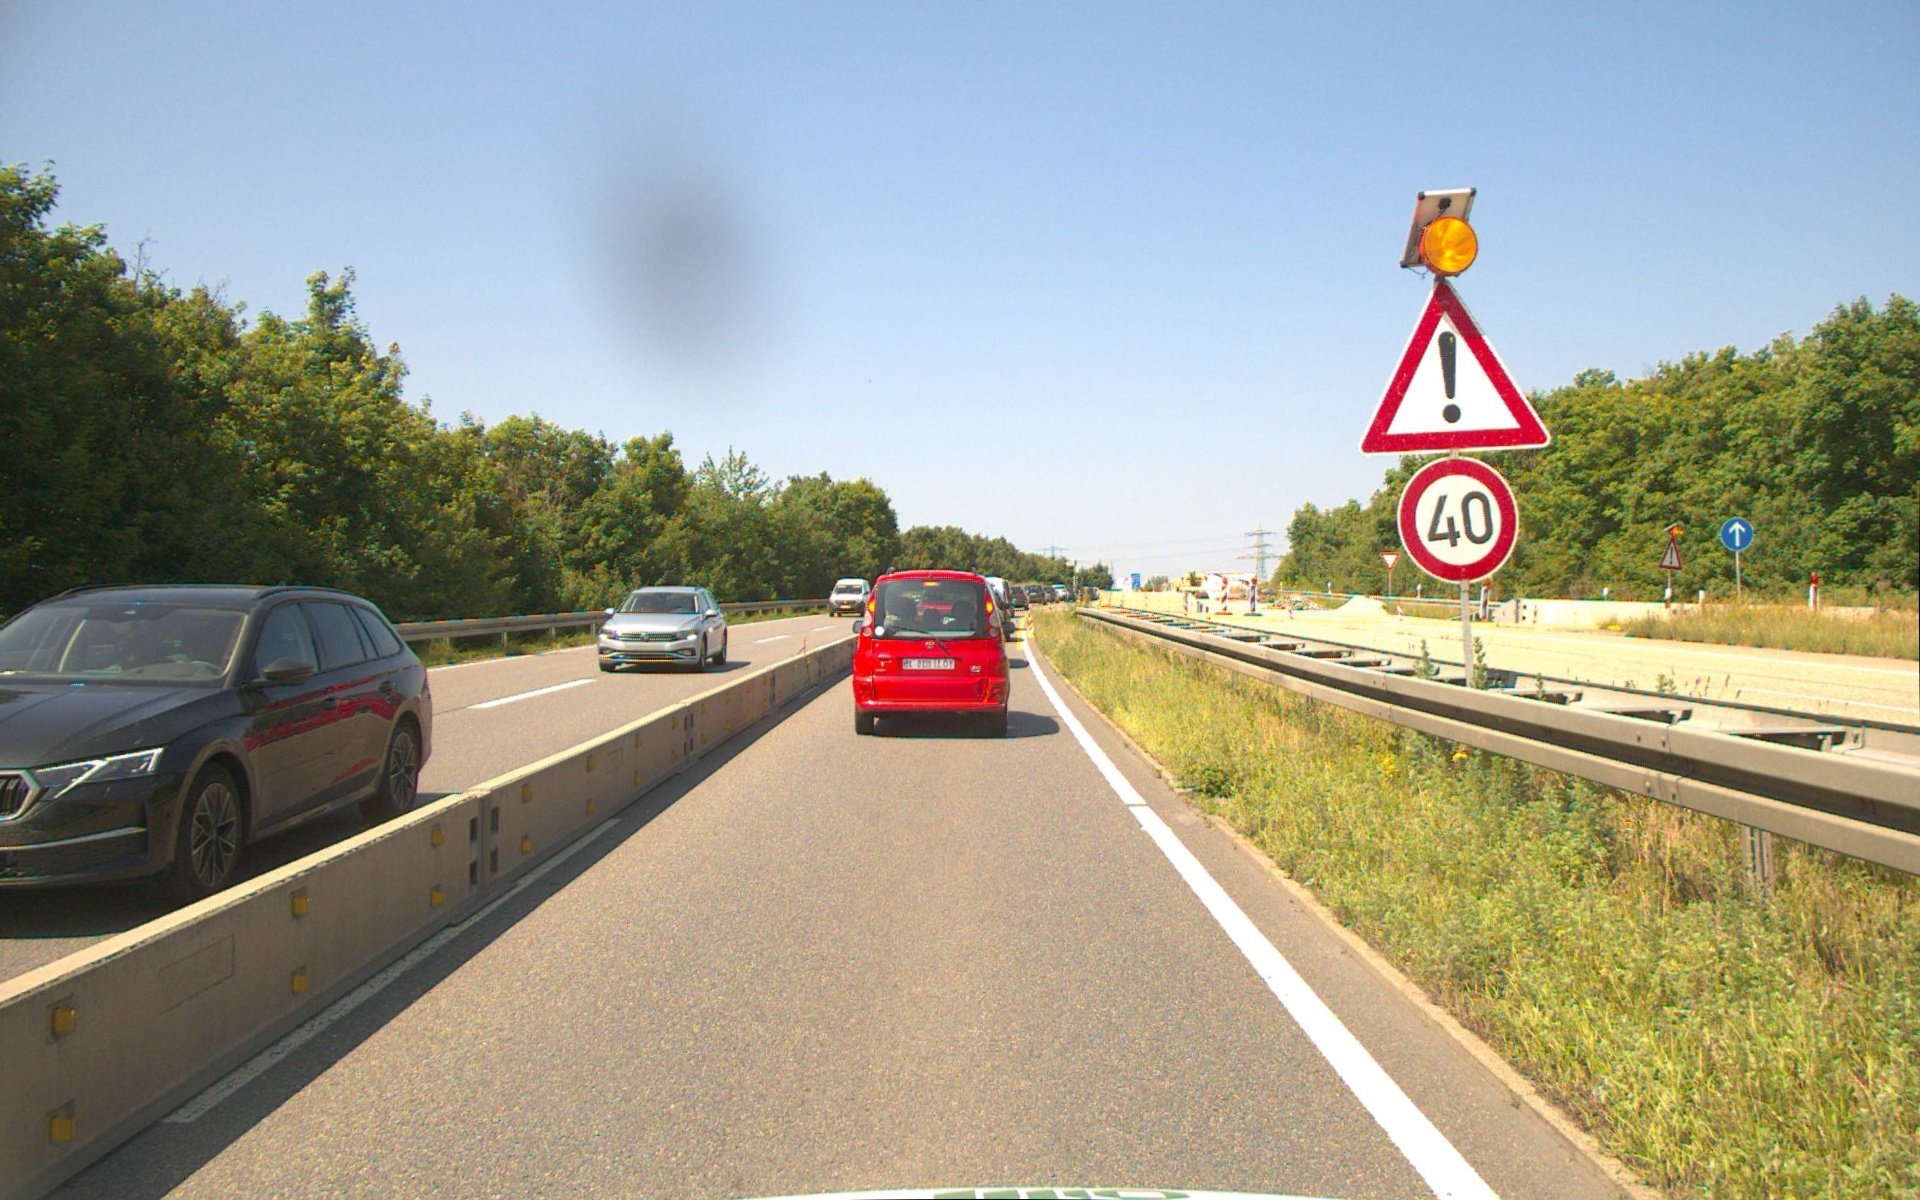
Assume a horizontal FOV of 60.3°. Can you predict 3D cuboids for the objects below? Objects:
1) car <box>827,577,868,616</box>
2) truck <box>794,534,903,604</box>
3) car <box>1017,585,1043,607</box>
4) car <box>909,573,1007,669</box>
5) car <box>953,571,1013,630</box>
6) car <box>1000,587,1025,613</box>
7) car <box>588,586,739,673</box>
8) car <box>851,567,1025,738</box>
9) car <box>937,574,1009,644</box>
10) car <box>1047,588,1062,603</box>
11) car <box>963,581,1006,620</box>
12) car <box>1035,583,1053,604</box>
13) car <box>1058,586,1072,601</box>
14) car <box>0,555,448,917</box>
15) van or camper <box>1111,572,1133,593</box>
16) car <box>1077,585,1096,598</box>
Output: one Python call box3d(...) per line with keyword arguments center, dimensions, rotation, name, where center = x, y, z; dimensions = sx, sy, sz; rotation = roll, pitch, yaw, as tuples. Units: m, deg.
box3d(center=(-5.454, -0.182, 80.605), dimensions=(1.720, 1.795, 4.283), rotation=(-1, 0, -1), name="car")
box3d(center=(-9.111, -2.549, 135.878), dimensions=(8.440, 5.469, 3.390), rotation=(-1, 0, 2), name="truck")
box3d(center=(5.303, -0.320, 124.694), dimensions=(1.952, 1.612, 4.002), rotation=(0, 0, 3), name="car")
box3d(center=(0.006, 0.368, 32.498), dimensions=(1.792, 1.752, 4.001), rotation=(0, 0, 1), name="car")
box3d(center=(0.784, 0.017, 59.347), dimensions=(1.953, 2.038, 3.999), rotation=(1, 0, -2), name="car")
box3d(center=(3.142, -0.013, 99.440), dimensions=(1.471, 1.476, 3.326), rotation=(0, 0, 1), name="car")
box3d(center=(-5.280, 0.480, 30.006), dimensions=(1.909, 1.446, 4.353), rotation=(-1, 0, 0), name="car")
box3d(center=(-0.232, 0.513, 18.417), dimensions=(1.716, 1.702, 4.000), rotation=(0, 0, -1), name="car")
box3d(center=(0.389, 0.227, 46.877), dimensions=(1.952, 1.870, 4.001), rotation=(0, 0, 1), name="car")
box3d(center=(8.901, -0.430, 155.544), dimensions=(1.391, 1.321, 2.880), rotation=(0, 0, 3), name="car")
box3d(center=(1.124, -0.007, 77.885), dimensions=(1.952, 1.780, 4.000), rotation=(0, 0, 0), name="car")
box3d(center=(7.118, -0.554, 140.071), dimensions=(1.471, 1.767, 3.171), rotation=(0, 0, 1), name="car")
box3d(center=(10.878, -0.683, 171.670), dimensions=(1.470, 1.476, 3.171), rotation=(0, 0, 3), name="car")
box3d(center=(-4.349, 0.547, 9.033), dimensions=(1.785, 1.508, 4.256), rotation=(1, 0, 0), name="car")
box3d(center=(21.151, -2.253, 216.302), dimensions=(2.281, 2.754, 4.592), rotation=(-1, 0, -1), name="van or camper")
box3d(center=(14.956, -1.009, 195.188), dimensions=(1.952, 1.579, 4.001), rotation=(0, 0, 1), name="car")
